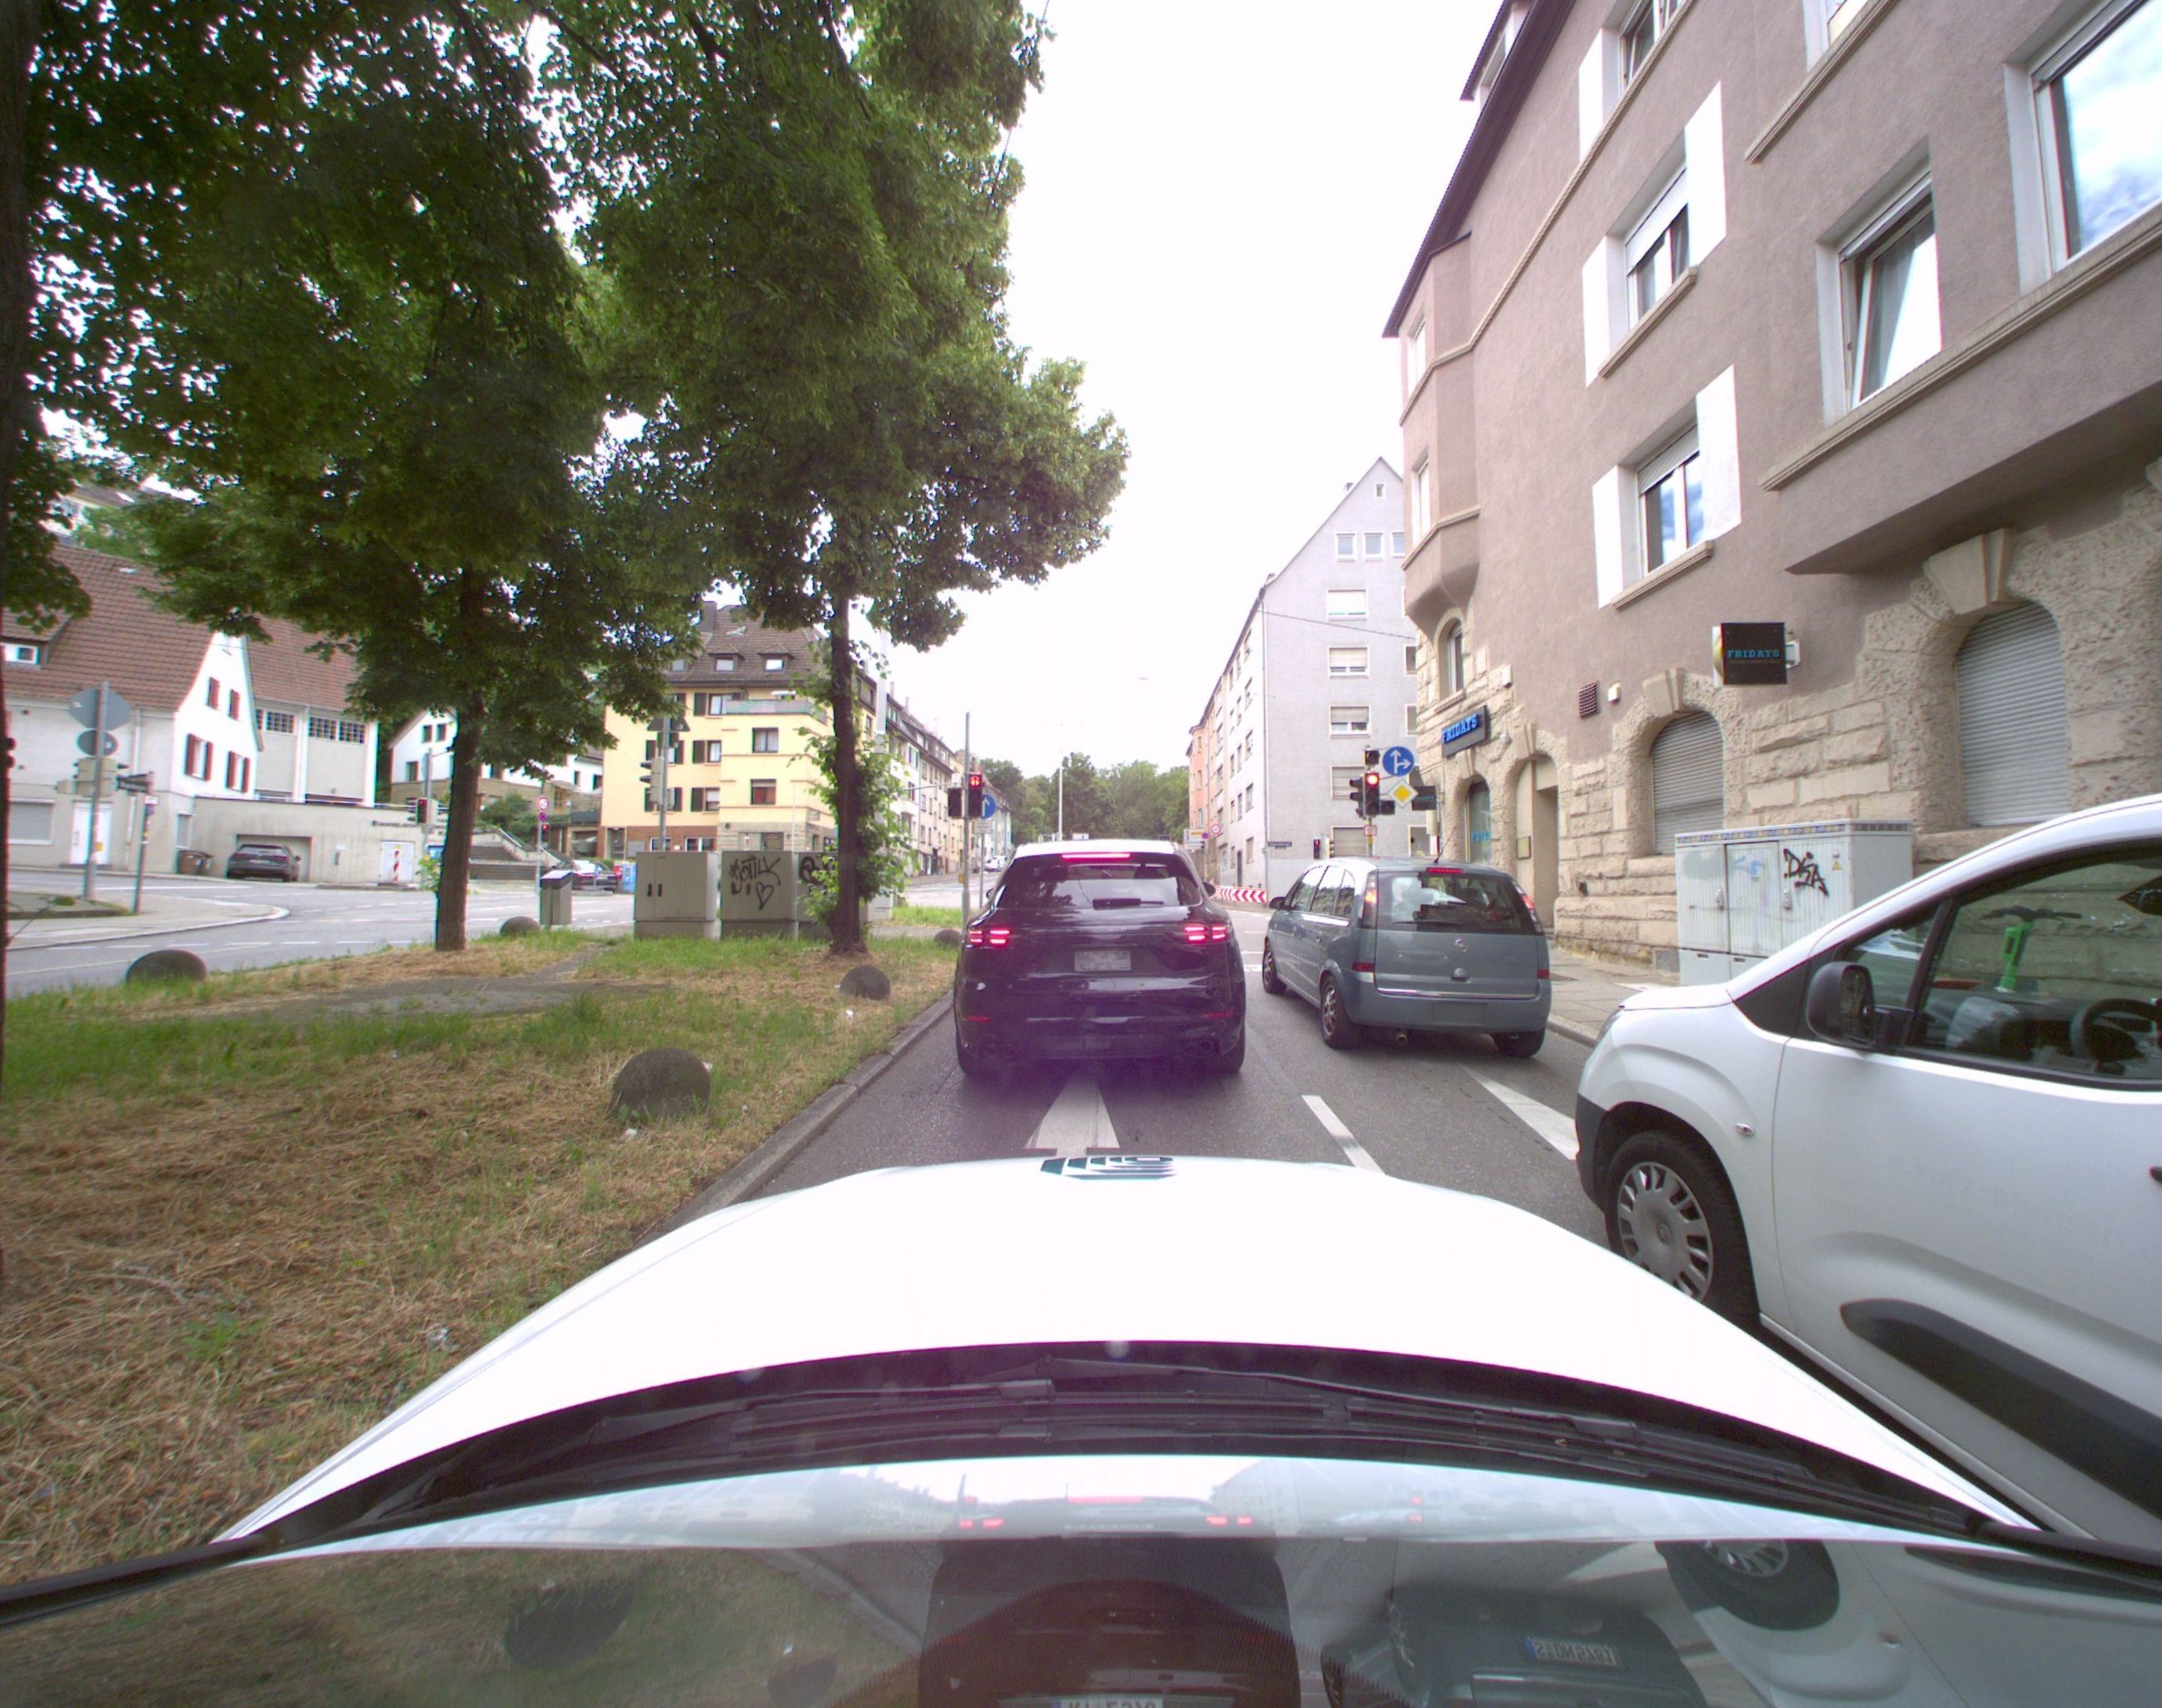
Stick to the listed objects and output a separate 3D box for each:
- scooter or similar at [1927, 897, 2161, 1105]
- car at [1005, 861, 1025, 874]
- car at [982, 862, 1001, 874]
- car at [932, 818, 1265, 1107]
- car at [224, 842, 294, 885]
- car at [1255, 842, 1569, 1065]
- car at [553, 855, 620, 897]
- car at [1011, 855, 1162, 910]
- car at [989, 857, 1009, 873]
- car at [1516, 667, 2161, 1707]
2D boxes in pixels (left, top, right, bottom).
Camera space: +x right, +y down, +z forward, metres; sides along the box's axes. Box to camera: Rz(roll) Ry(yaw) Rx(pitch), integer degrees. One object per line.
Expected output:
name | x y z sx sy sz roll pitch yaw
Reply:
scooter or similar | 6.409 0.865 5.226 0.524 1.104 1.424 -1 -1 4
car | -8.070 1.655 99.841 1.836 1.486 3.902 0 -1 4
car | -10.854 1.649 99.244 1.732 1.387 3.815 0 0 2
car | 0.164 0.660 6.833 1.948 1.674 4.001 -1 -1 2
car | -32.182 0.359 31.876 3.019 1.405 1.681 2 -4 42
car | 2.872 0.755 7.933 1.622 1.598 3.670 3 0 2
car | -23.602 1.012 38.834 3.477 1.596 1.881 7 4 44
car | 0.208 0.821 23.855 4.212 1.521 1.670 0 -1 8
car | -10.535 1.374 105.005 2.008 2.045 4.669 0 -1 2
car | 2.812 0.610 1.053 1.969 1.775 4.676 3 0 0
